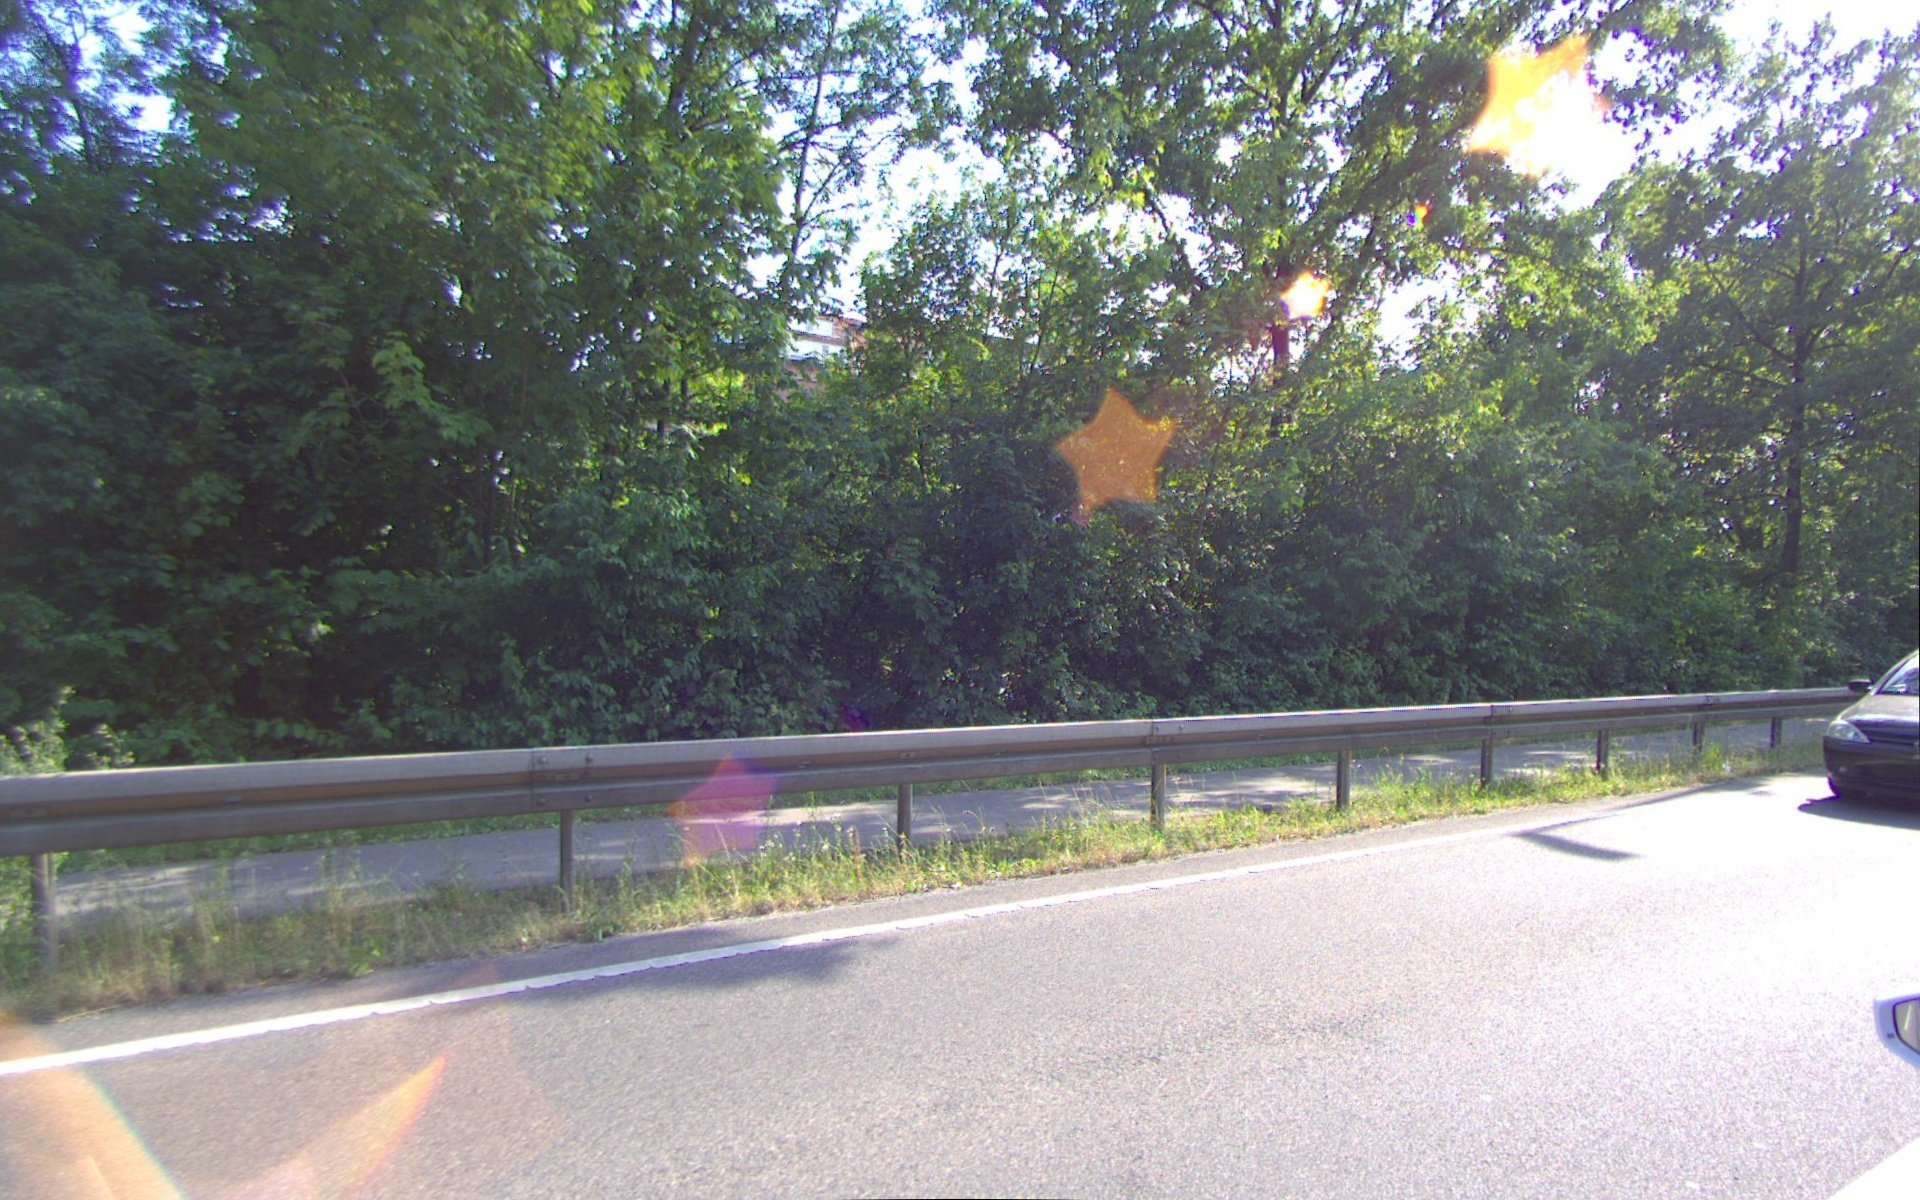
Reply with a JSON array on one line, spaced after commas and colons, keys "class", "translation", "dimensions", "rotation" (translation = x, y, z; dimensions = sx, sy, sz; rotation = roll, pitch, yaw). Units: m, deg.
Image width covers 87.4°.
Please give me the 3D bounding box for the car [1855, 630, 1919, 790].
[{"class": "car", "translation": [10.741, 1.056, 9.928], "dimensions": [3.952, 1.461, 1.674], "rotation": [1, -1, -30]}]
